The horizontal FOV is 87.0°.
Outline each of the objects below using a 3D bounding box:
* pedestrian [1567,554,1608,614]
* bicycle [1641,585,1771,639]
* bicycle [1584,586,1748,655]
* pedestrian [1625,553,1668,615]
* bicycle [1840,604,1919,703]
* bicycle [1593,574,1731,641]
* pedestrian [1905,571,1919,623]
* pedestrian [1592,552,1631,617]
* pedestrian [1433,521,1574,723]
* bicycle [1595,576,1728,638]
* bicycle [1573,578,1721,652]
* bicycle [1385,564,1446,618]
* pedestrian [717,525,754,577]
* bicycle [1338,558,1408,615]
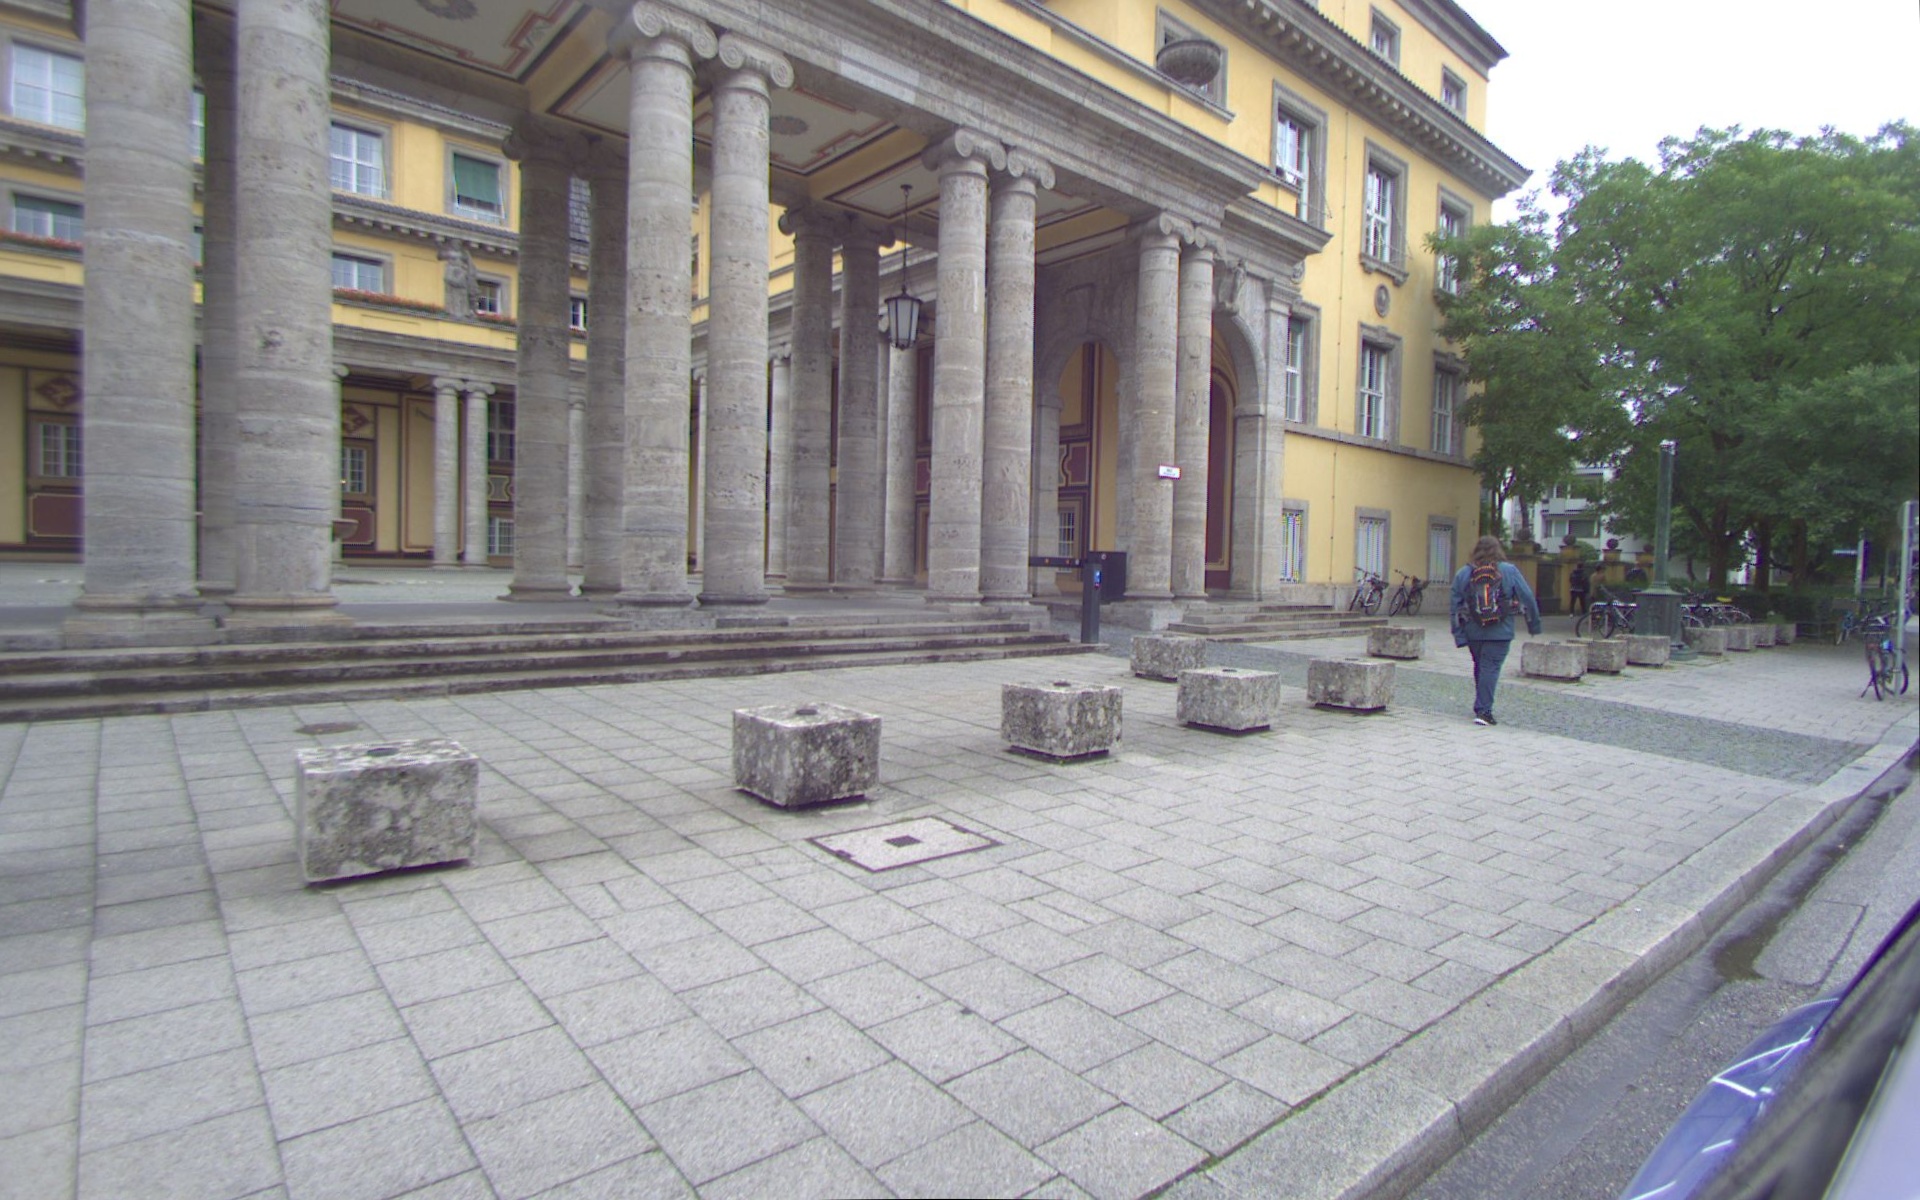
[{"bbox_3d":[19.256,-0.486,31.043,0.827,1.764,0.741,-1,6,-41],"label":"pedestrian"},{"bbox_3d":[17.014,0.243,23.156,0.591,1.023,2.264,1,4,-38],"label":"bicycle"},{"bbox_3d":[13.010,0.340,18.712,2.362,1.018,0.668,7,5,41],"label":"bicycle"},{"bbox_3d":[22.065,-0.527,32.526,1.017,1.887,0.782,-1,6,-41],"label":"pedestrian"},{"bbox_3d":[12.401,0.664,13.421,2.225,1.113,0.762,-1,5,-42],"label":"bicycle"},{"bbox_3d":[14.692,0.136,21.237,2.255,1.071,0.593,10,8,38],"label":"bicycle"},{"bbox_3d":[32.480,-0.103,34.138,0.649,1.753,0.797,-1,0,-42],"label":"pedestrian"},{"bbox_3d":[19.514,-0.471,30.313,0.807,1.887,0.659,-1,6,-41],"label":"pedestrian"},{"bbox_3d":[5.099,0.169,9.494,1.037,1.767,0.789,0,3,-42],"label":"pedestrian"},{"bbox_3d":[15.218,0.126,22.001,2.255,1.035,0.593,10,8,38],"label":"bicycle"},{"bbox_3d":[13.420,0.256,19.831,2.255,1.107,0.593,10,8,38],"label":"bicycle"},{"bbox_3d":[11.822,-0.243,26.234,2.128,1.323,0.601,-1,3,-42],"label":"bicycle"},{"bbox_3d":[-7.722,-1.660,34.845,0.968,1.742,0.805,-1,0,-43],"label":"pedestrian"},{"bbox_3d":[10.089,-0.341,24.696,2.225,1.323,0.601,-1,3,-41],"label":"bicycle"}]
